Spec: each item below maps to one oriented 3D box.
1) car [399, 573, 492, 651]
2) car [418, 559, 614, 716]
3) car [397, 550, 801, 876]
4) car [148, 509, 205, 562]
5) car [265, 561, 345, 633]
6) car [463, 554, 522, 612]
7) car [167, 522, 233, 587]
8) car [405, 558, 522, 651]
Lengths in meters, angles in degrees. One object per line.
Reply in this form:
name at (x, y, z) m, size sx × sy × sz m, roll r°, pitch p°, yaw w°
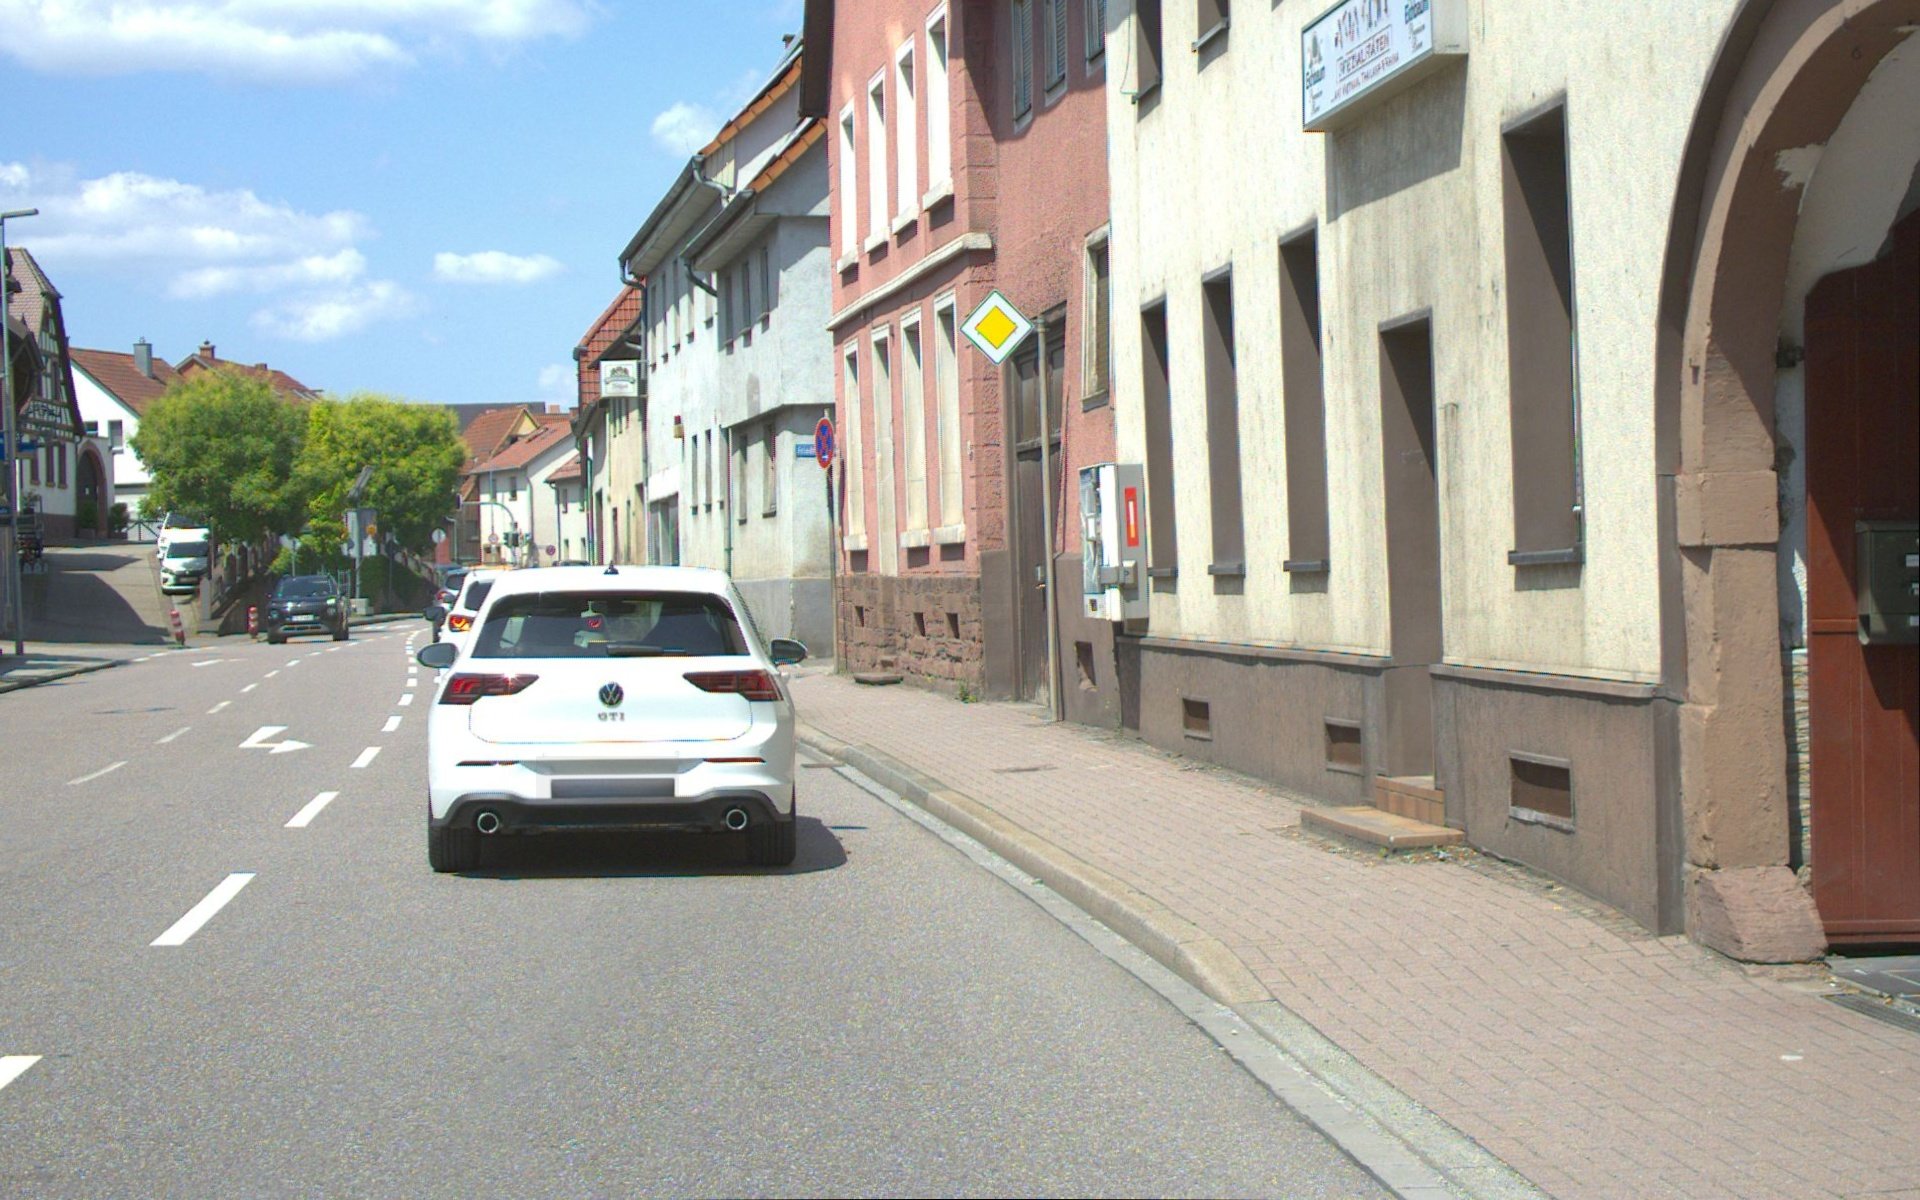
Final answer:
car at (-10.652, 0.229, 71.361) m, size 1.775 × 1.533 × 4.001 m, roll -1°, pitch 1°, yaw -7°
car at (-4.414, 0.347, 34.279) m, size 1.807 × 1.462 × 4.001 m, roll 1°, pitch 0°, yaw -7°
car at (-1.730, 0.509, 17.566) m, size 1.807 × 1.462 × 4.000 m, roll 1°, pitch 0°, yaw -3°
car at (-25.739, -2.136, 113.035) m, size 1.576 × 1.357 × 3.858 m, roll -1°, pitch 6°, yaw -9°
car at (-15.597, -0.095, 81.986) m, size 1.669 × 1.652 × 4.019 m, roll -1°, pitch 1°, yaw -9°
car at (-14.639, -0.543, 107.690) m, size 1.775 × 1.759 × 4.001 m, roll -1°, pitch 1°, yaw -8°
car at (-22.399, -1.357, 101.435) m, size 1.693 × 1.537 × 3.858 m, roll -1°, pitch 6°, yaw -9°
car at (-8.168, 0.067, 56.324) m, size 1.807 × 1.462 × 4.001 m, roll 1°, pitch 0°, yaw -9°
